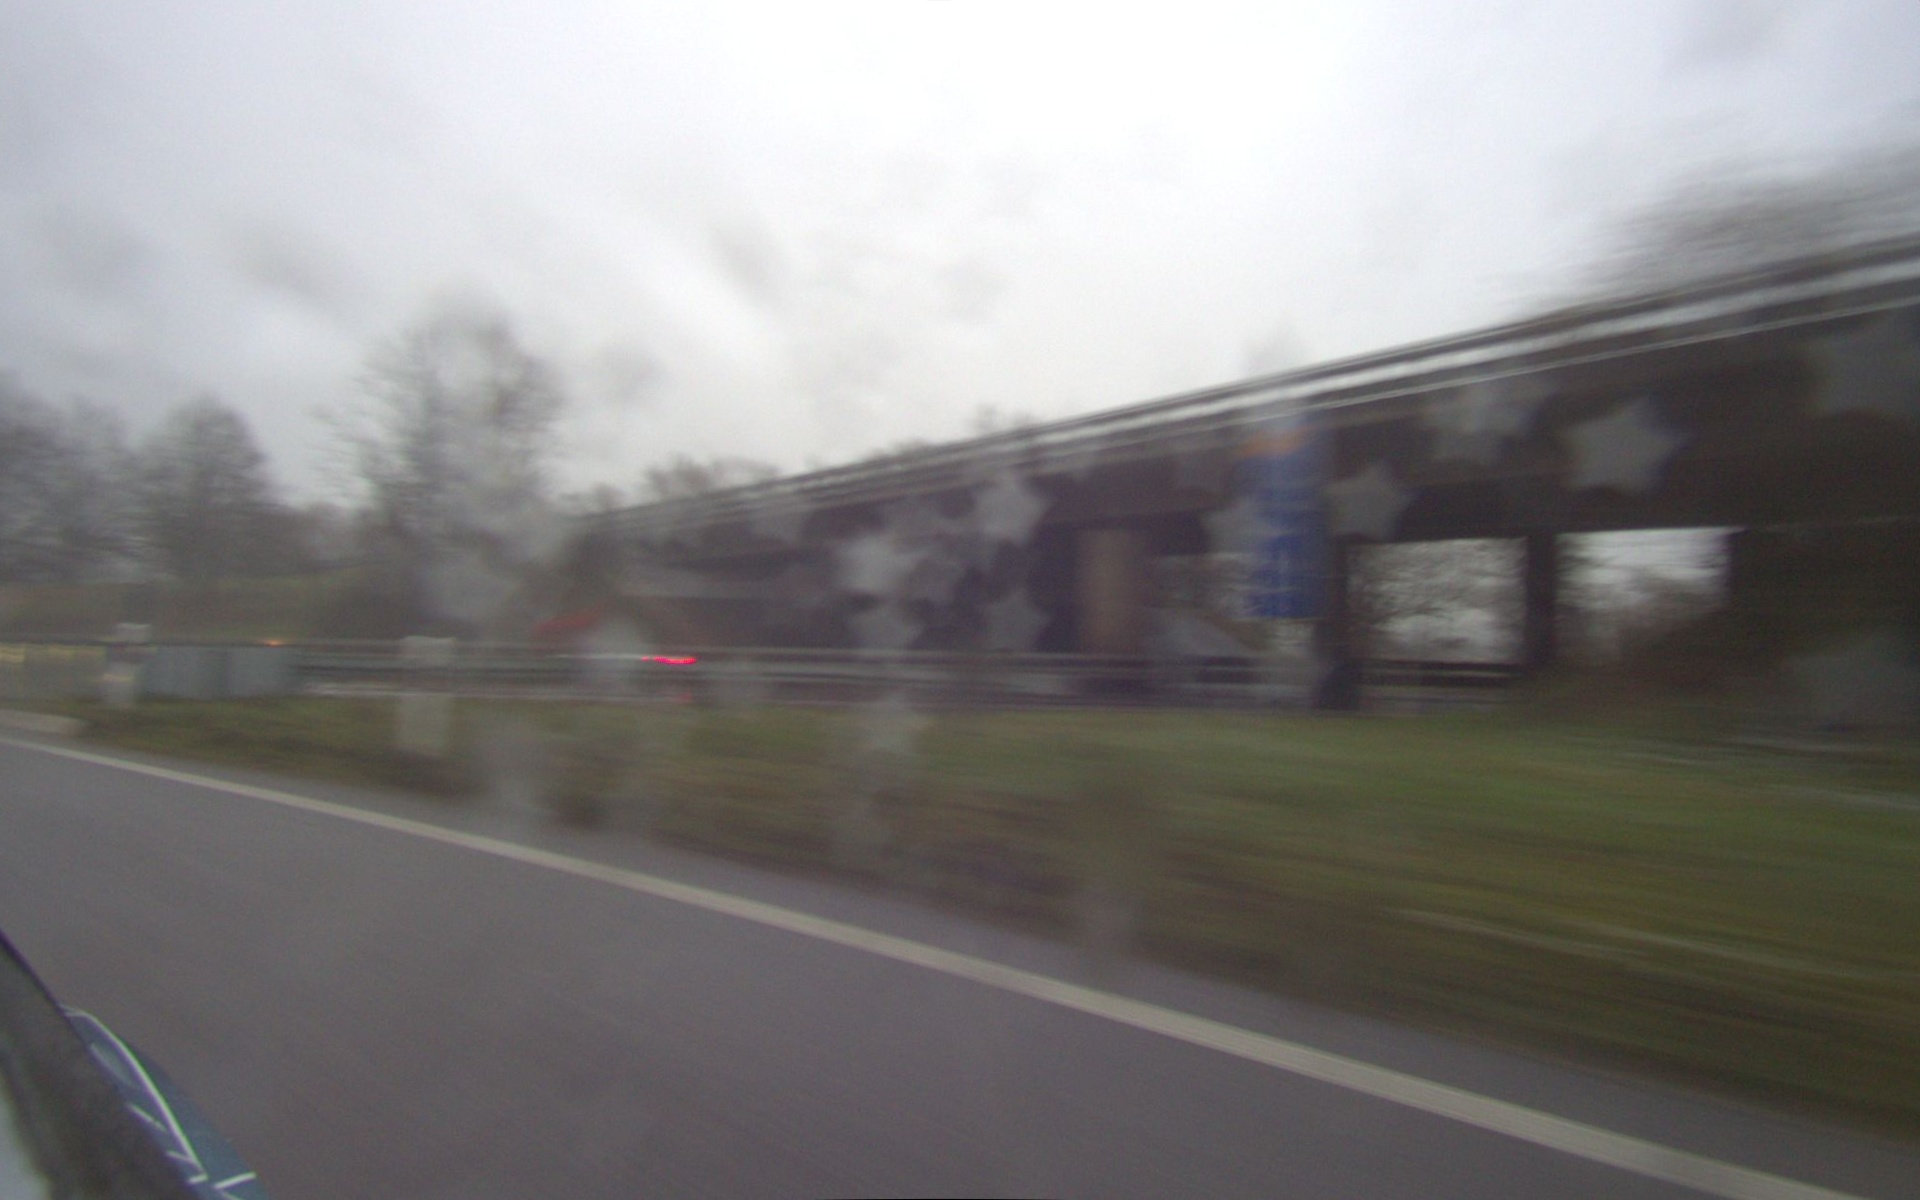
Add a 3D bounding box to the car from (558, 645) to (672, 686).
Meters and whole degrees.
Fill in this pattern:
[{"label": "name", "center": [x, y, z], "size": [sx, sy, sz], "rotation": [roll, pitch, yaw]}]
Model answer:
[{"label": "car", "center": [-13.836, 2.621, 40.734], "size": [3.943, 1.570, 2.000], "rotation": [0, -2, -1]}]
